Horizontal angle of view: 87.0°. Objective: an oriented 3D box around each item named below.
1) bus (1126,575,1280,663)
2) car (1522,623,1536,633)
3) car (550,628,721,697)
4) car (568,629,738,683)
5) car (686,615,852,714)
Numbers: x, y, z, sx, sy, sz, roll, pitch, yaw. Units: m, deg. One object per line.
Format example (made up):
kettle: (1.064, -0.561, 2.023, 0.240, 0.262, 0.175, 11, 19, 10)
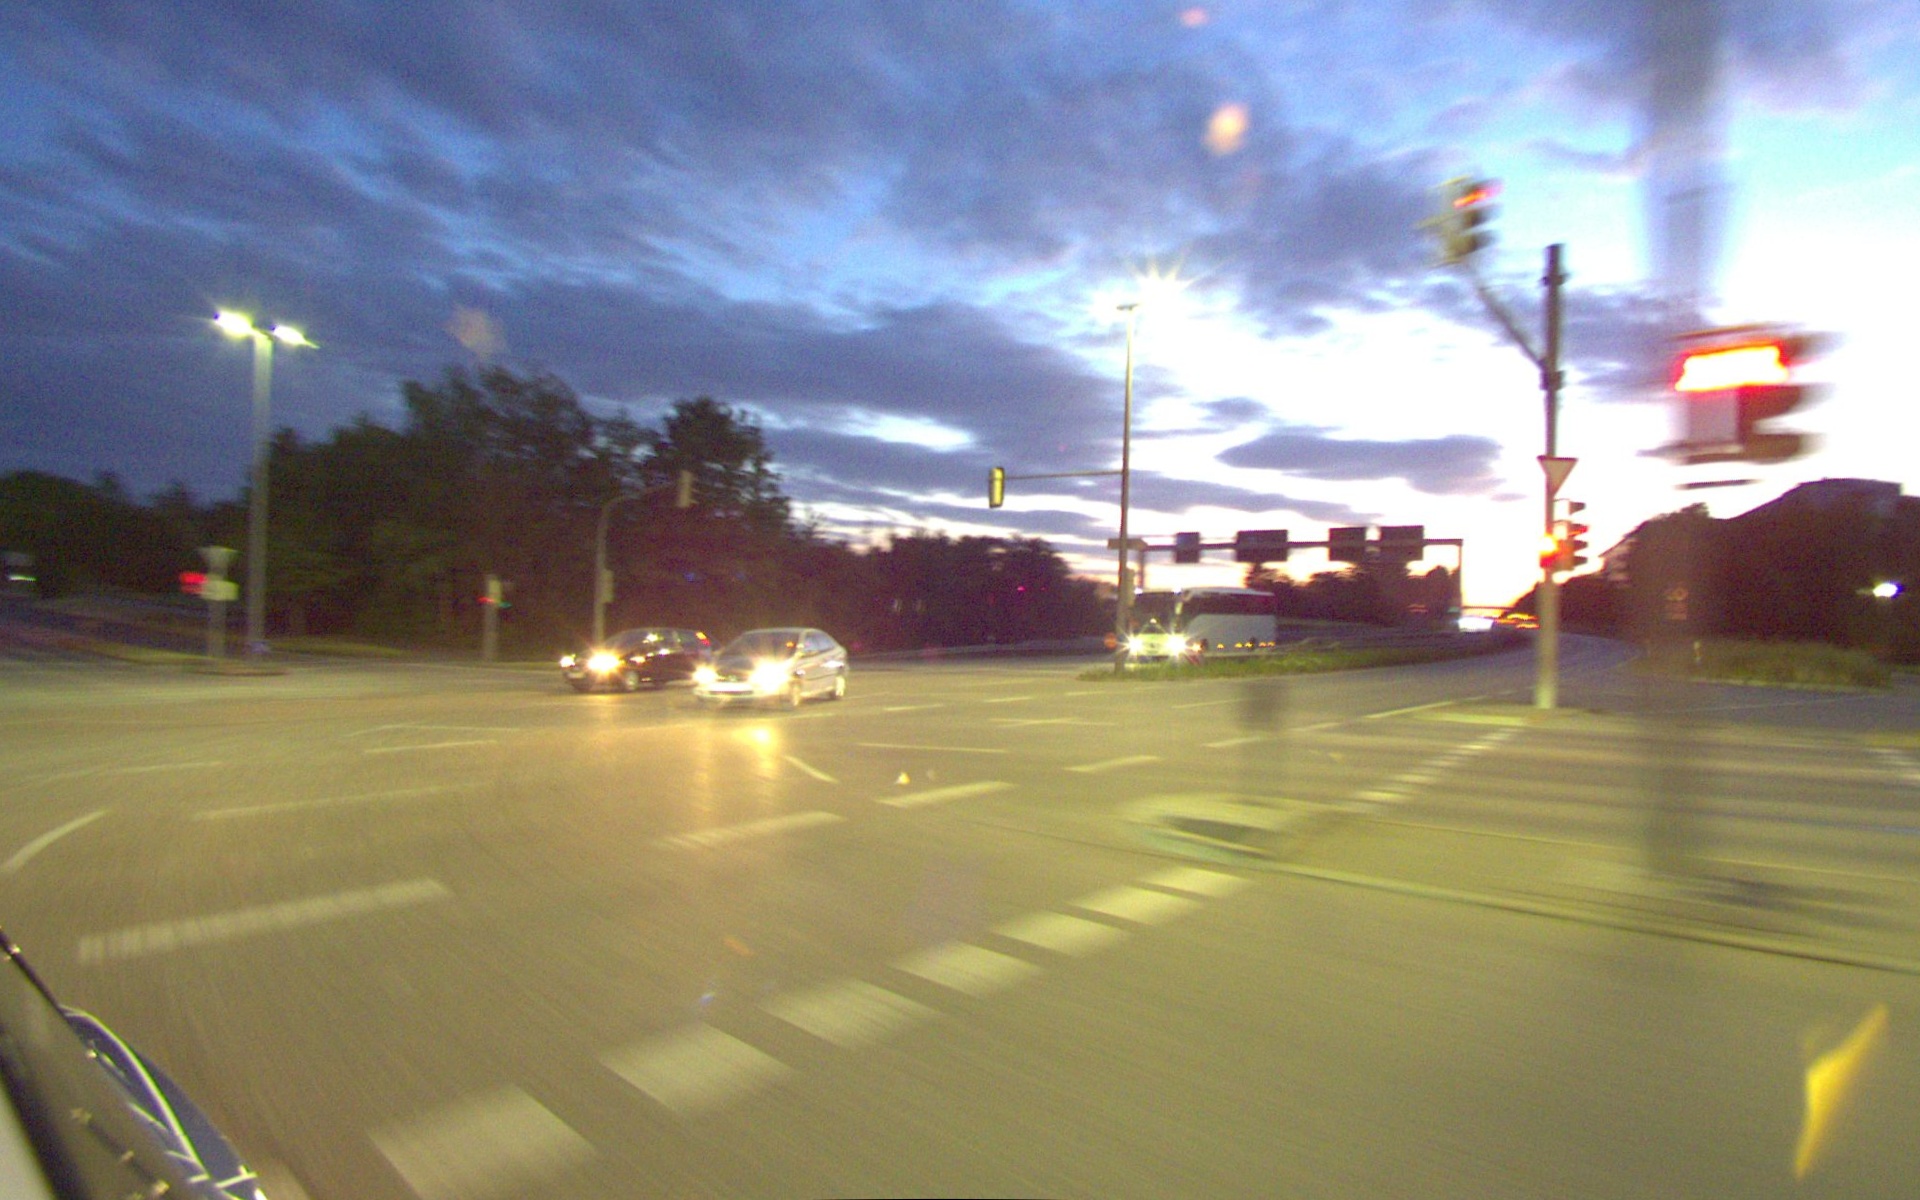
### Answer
bus: (12.175, 0.962, 49.438, 2.612, 3.819, 12.120, -2, -2, 37)
car: (100.923, 4.958, 179.501, 1.908, 1.695, 4.371, -1, -3, 32)
car: (-7.683, 1.429, 24.259, 1.666, 1.492, 3.735, -1, -2, 32)
car: (-8.912, 1.583, 29.454, 4.456, 1.454, 1.802, 1, -2, -29)
car: (-3.498, 1.170, 19.416, 1.653, 1.666, 4.395, -1, -2, 11)
